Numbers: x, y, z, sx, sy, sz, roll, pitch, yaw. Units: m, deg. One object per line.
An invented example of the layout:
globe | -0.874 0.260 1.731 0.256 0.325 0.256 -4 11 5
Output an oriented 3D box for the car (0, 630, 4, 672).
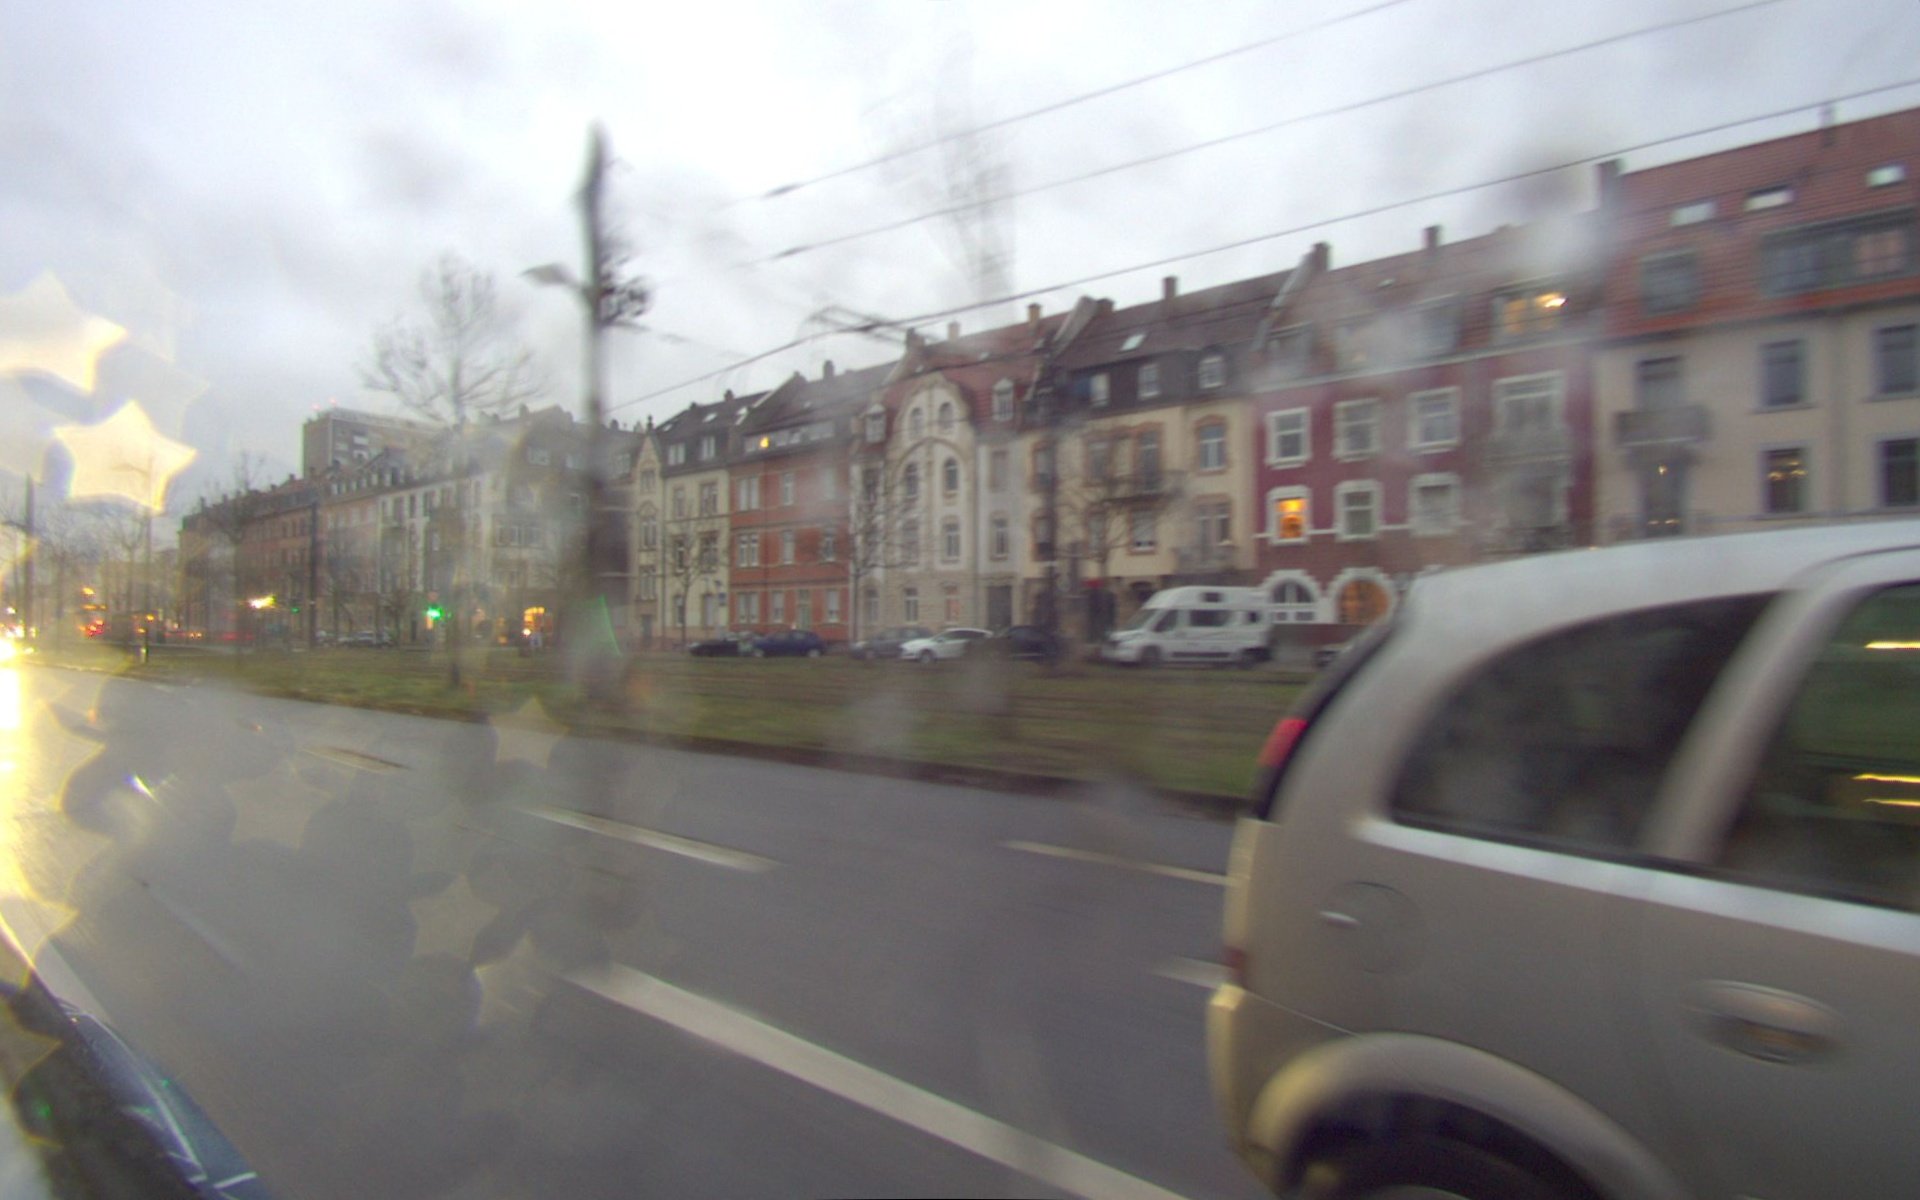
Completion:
car | -37.011 1.903 37.581 4.051 1.508 1.790 -2 -1 41

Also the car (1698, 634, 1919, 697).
car | 19.111 1.437 22.684 3.934 1.342 2.005 1 -2 -12

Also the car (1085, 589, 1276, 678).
car | 7.175 1.111 33.223 5.774 2.819 2.003 0 -2 -8

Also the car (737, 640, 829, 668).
car | -7.862 2.389 44.885 3.934 1.178 2.005 1 -2 -12

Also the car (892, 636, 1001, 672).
car | -0.555 2.117 40.018 3.932 1.342 2.005 1 -2 -15

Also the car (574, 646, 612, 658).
car | -31.994 4.532 88.273 1.330 1.083 2.861 -2 -3 40

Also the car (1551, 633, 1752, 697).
car | 17.109 1.587 25.111 3.932 1.497 2.006 1 -2 -15

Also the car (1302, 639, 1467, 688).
car | 12.208 1.815 29.242 3.934 1.342 2.005 1 -2 -12

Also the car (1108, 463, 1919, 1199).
car | 2.404 0.626 1.305 4.051 1.612 1.790 -2 -1 41

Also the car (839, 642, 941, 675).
car | -2.959 2.434 42.394 3.933 1.342 2.005 1 -2 -14

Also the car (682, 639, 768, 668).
car | -11.190 2.521 48.206 3.933 1.342 2.005 1 -2 -14
